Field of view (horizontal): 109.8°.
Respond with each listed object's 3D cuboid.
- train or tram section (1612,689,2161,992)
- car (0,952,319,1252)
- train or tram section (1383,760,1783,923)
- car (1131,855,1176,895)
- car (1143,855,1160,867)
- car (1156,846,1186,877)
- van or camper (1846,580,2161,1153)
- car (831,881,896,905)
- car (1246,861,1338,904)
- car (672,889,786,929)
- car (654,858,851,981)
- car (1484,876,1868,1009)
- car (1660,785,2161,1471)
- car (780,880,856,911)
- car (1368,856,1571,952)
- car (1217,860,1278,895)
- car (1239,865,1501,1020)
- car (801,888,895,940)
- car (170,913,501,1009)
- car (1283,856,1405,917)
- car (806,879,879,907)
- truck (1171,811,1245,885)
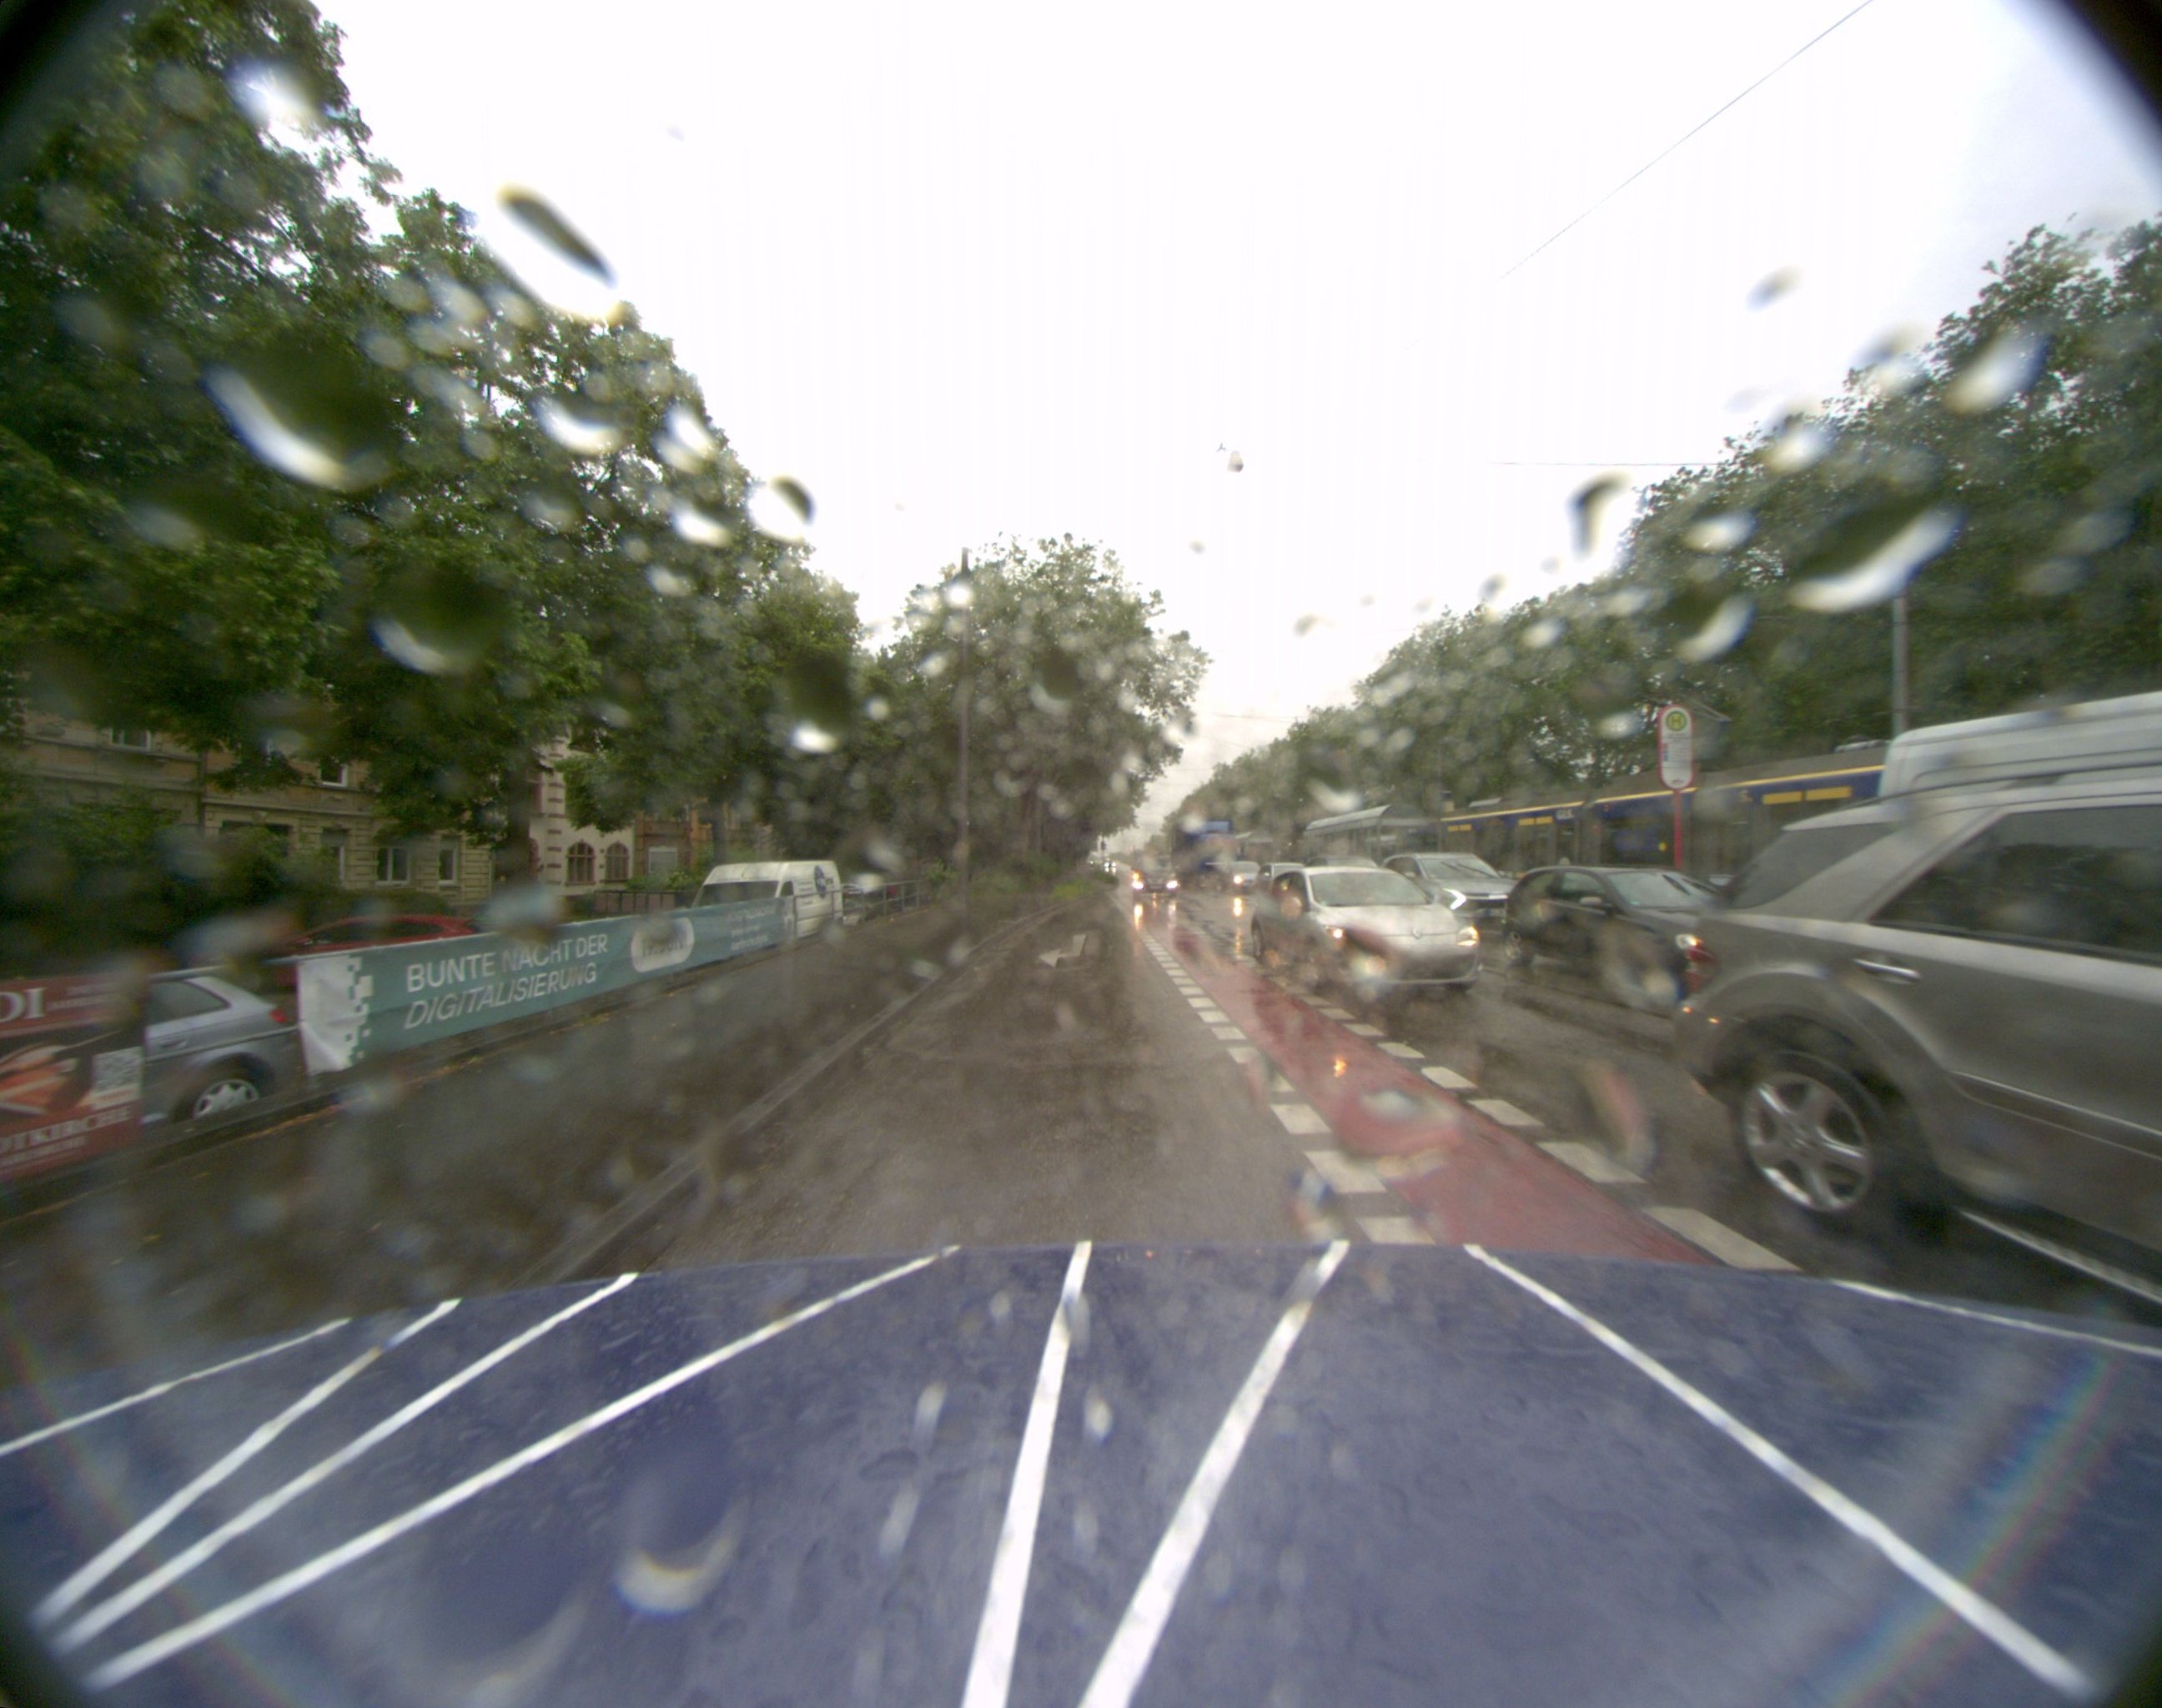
[{"bbox_3d":[13.870,-0.210,9.406,3.550,3.393,15.503,-2,0,0],"label":"train or tram section"},{"bbox_3d":[-7.250,1.607,4.312,1.736,1.530,4.074,-2,0,-1],"label":"car"},{"bbox_3d":[13.905,-0.264,23.763,3.522,3.492,13.659,-2,0,1],"label":"train or tram section"},{"bbox_3d":[3.141,0.878,33.518,1.756,1.656,3.678,-1,0,2],"label":"car"},{"bbox_3d":[7.463,0.698,80.549,1.467,1.185,3.615,-1,0,0],"label":"car"},{"bbox_3d":[7.554,0.592,64.293,1.998,2.412,5.728,-2,0,3],"label":"car"},{"bbox_3d":[6.996,0.065,2.914,2.164,3.123,5.851,0,0,-1],"label":"van or camper"},{"bbox_3d":[-15.472,2.720,53.983,4.007,1.455,1.908,-1,0,-34],"label":"car"},{"bbox_3d":[7.553,0.960,27.657,1.999,1.386,4.606,0,0,-1],"label":"car"},{"bbox_3d":[-14.829,2.279,32.125,4.269,1.372,1.687,0,1,-27],"label":"car"},{"bbox_3d":[-7.695,1.363,18.714,2.214,2.406,6.158,-2,0,-1],"label":"car"},{"bbox_3d":[6.737,0.897,9.263,1.467,1.111,4.087,-1,0,0],"label":"car"},{"bbox_3d":[3.772,0.679,1.367,2.030,1.760,4.462,-1,0,0],"label":"car"},{"bbox_3d":[-15.671,2.437,45.291,4.006,1.599,1.821,-1,0,-31],"label":"car"},{"bbox_3d":[7.507,0.862,15.260,1.919,1.614,4.455,0,0,2],"label":"car"},{"bbox_3d":[7.622,1.023,35.134,1.894,1.478,4.077,0,0,-1],"label":"car"},{"bbox_3d":[3.338,0.922,9.662,1.772,1.469,4.001,-1,0,0],"label":"car"},{"bbox_3d":[-7.814,1.977,25.940,1.972,1.345,4.383,-2,0,-3],"label":"car"},{"bbox_3d":[-14.576,2.027,15.289,4.439,1.444,1.894,0,-1,-32],"label":"car"},{"bbox_3d":[7.478,0.859,22.119,1.999,1.611,4.320,0,0,-1],"label":"car"},{"bbox_3d":[-15.299,2.463,48.795,4.007,1.556,1.995,-1,0,-34],"label":"car"},{"bbox_3d":[7.276,-0.287,44.934,2.545,3.866,9.811,1,0,-1],"label":"truck"}]
